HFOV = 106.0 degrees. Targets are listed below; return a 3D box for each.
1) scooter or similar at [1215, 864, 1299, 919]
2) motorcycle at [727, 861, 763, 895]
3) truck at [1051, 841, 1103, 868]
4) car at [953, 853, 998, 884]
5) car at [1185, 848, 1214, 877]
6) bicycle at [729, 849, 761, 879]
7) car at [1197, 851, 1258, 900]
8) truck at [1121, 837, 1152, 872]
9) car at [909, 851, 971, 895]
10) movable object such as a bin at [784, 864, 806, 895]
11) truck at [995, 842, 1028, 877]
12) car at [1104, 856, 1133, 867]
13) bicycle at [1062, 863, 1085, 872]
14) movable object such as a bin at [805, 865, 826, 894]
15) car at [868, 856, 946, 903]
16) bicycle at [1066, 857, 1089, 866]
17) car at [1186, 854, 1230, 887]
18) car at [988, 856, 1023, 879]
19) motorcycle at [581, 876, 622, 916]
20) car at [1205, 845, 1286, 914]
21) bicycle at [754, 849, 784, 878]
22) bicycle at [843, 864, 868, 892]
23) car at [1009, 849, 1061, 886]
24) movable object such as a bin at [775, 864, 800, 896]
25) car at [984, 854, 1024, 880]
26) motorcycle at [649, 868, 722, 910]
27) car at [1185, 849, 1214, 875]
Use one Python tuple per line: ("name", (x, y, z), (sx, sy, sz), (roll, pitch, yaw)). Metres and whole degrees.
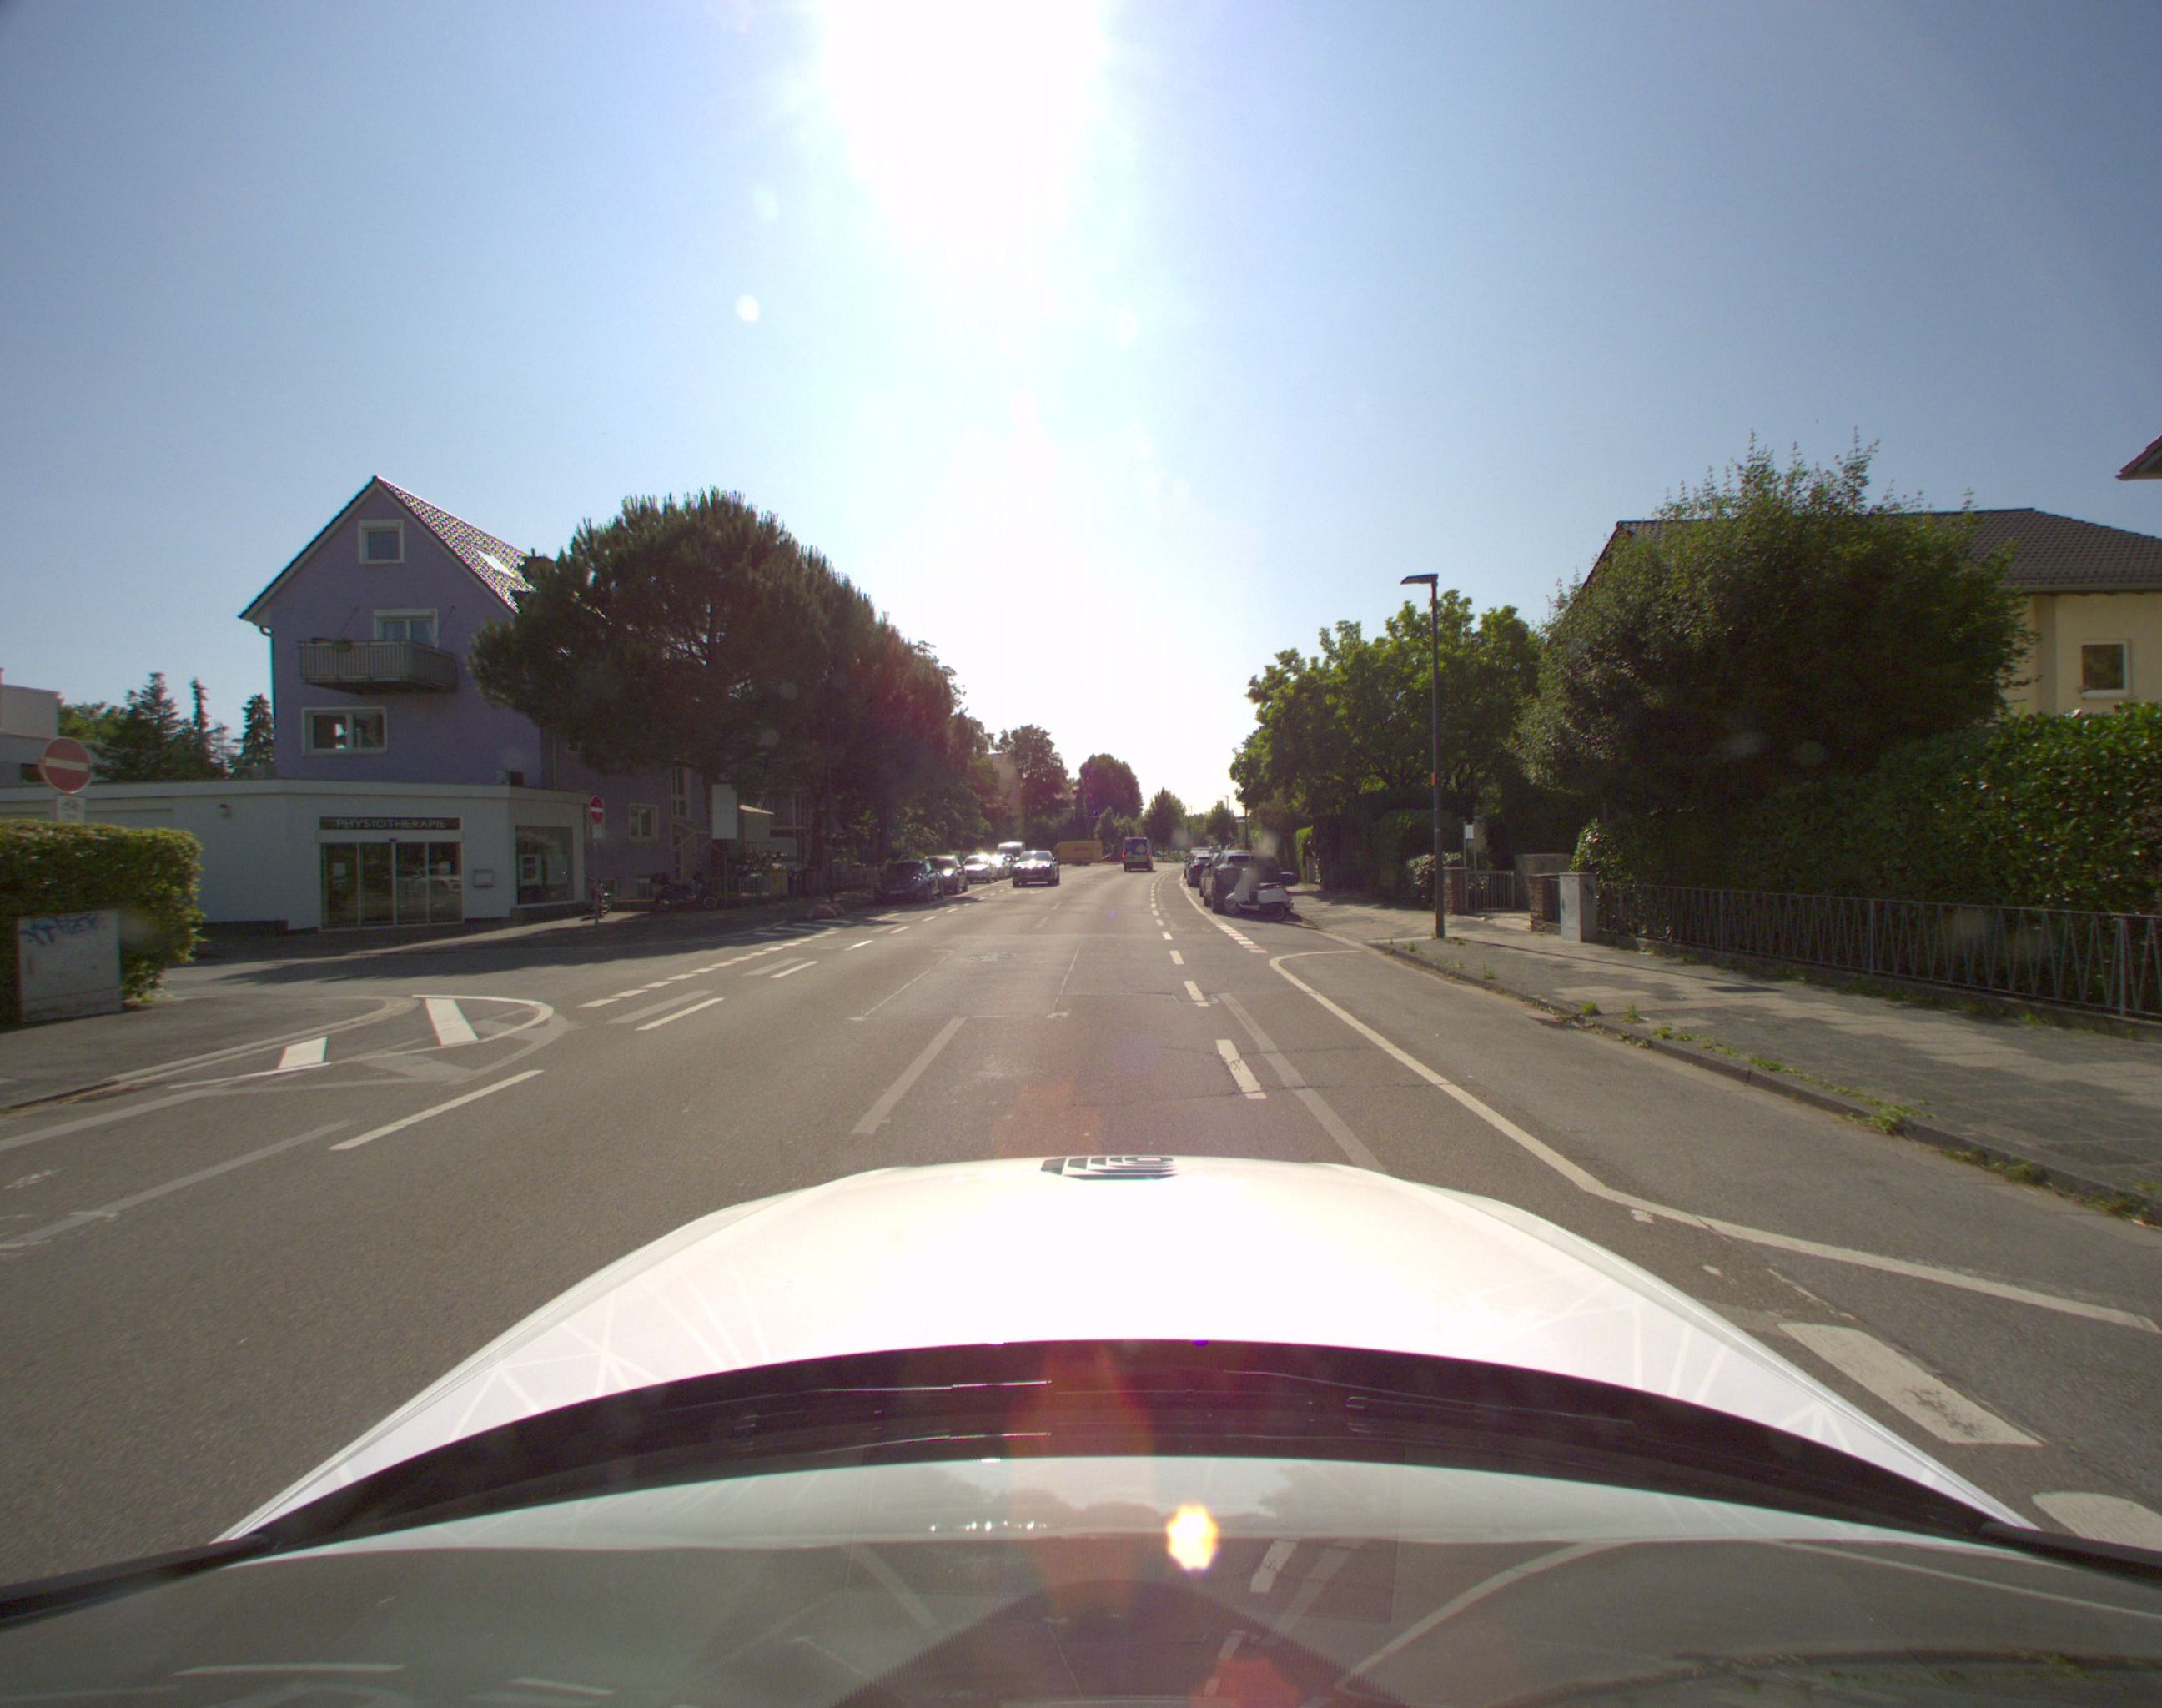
("scooter or similar", (4.126, 0.856, 19.187), (0.724, 1.154, 1.775), (2, 0, -44))
("motorcycle", (-12.059, 0.838, 29.286), (0.534, 1.182, 1.449), (-1, 0, 7))
("truck", (-0.447, 0.094, 94.170), (5.613, 2.946, 2.235), (-2, 0, 30))
("car", (-5.794, 0.767, 45.089), (1.827, 1.595, 3.777), (-1, 0, 3))
("car", (7.454, 0.511, 51.242), (1.690, 1.677, 3.784), (-1, 0, 9))
("bicycle", (-14.062, 0.391, 34.096), (0.534, 1.181, 1.449), (-1, 2, 7))
("car", (4.925, 0.679, 27.797), (1.701, 1.514, 3.907), (1, 0, 5))
("truck", (4.379, 0.049, 63.926), (2.261, 2.571, 4.398), (-1, 0, 5))
("car", (-5.860, 0.743, 34.342), (1.903, 1.677, 4.257), (-1, 0, -1))
("movable object such as a bin", (-10.475, 0.920, 29.872), (0.602, 1.111, 0.432), (-1, -1, 6))
("truck", (-5.302, 0.391, 62.709), (2.075, 2.537, 5.464), (-1, 0, -1))
("car", (5.459, 1.144, 119.450), (3.984, 1.490, 1.624), (-1, 0, -8))
("bicycle", (-0.932, 1.612, 99.076), (2.662, 1.026, 1.024), (-1, 0, -7))
("movable object such as a bin", (-10.174, 0.973, 31.253), (0.541, 1.111, 0.586), (-1, -1, 7))
("car", (-6.024, 0.829, 28.675), (1.775, 1.460, 4.086), (-2, 0, 0))
("bicycle", (-0.467, 0.973, 100.292), (2.685, 1.047, 1.024), (-1, 0, -7))
("car", (5.750, 0.700, 37.227), (1.776, 1.399, 4.331), (1, 0, 6))
("car", (-5.254, 0.930, 56.842), (1.746, 1.496, 3.659), (-1, 0, 5))
("motorcycle", (-13.543, 1.161, 23.057), (0.643, 0.990, 2.339), (-1, 1, -22))
("car", (4.327, 0.604, 21.984), (1.775, 1.638, 4.479), (1, 0, 7))
("bicycle", (-13.163, 0.401, 34.342), (0.534, 1.182, 1.449), (-1, 0, 7))
("bicycle", (-9.745, 1.008, 35.278), (0.371, 1.146, 1.979), (-1, 0, 3))
("car", (-2.173, 0.630, 39.978), (1.985, 1.657, 4.609), (-1, 0, 3))
("movable object such as a bin", (-10.555, 0.927, 29.306), (0.602, 1.111, 0.664), (-1, 0, 7))
("car", (-4.779, 0.773, 51.043), (1.826, 1.496, 3.659), (-1, 0, 5))
("motorcycle", (-11.594, 1.017, 23.901), (1.830, 1.182, 0.644), (-1, 0, 6))
("car", (8.172, 0.516, 56.470), (1.693, 1.677, 3.779), (-1, 0, 4))
